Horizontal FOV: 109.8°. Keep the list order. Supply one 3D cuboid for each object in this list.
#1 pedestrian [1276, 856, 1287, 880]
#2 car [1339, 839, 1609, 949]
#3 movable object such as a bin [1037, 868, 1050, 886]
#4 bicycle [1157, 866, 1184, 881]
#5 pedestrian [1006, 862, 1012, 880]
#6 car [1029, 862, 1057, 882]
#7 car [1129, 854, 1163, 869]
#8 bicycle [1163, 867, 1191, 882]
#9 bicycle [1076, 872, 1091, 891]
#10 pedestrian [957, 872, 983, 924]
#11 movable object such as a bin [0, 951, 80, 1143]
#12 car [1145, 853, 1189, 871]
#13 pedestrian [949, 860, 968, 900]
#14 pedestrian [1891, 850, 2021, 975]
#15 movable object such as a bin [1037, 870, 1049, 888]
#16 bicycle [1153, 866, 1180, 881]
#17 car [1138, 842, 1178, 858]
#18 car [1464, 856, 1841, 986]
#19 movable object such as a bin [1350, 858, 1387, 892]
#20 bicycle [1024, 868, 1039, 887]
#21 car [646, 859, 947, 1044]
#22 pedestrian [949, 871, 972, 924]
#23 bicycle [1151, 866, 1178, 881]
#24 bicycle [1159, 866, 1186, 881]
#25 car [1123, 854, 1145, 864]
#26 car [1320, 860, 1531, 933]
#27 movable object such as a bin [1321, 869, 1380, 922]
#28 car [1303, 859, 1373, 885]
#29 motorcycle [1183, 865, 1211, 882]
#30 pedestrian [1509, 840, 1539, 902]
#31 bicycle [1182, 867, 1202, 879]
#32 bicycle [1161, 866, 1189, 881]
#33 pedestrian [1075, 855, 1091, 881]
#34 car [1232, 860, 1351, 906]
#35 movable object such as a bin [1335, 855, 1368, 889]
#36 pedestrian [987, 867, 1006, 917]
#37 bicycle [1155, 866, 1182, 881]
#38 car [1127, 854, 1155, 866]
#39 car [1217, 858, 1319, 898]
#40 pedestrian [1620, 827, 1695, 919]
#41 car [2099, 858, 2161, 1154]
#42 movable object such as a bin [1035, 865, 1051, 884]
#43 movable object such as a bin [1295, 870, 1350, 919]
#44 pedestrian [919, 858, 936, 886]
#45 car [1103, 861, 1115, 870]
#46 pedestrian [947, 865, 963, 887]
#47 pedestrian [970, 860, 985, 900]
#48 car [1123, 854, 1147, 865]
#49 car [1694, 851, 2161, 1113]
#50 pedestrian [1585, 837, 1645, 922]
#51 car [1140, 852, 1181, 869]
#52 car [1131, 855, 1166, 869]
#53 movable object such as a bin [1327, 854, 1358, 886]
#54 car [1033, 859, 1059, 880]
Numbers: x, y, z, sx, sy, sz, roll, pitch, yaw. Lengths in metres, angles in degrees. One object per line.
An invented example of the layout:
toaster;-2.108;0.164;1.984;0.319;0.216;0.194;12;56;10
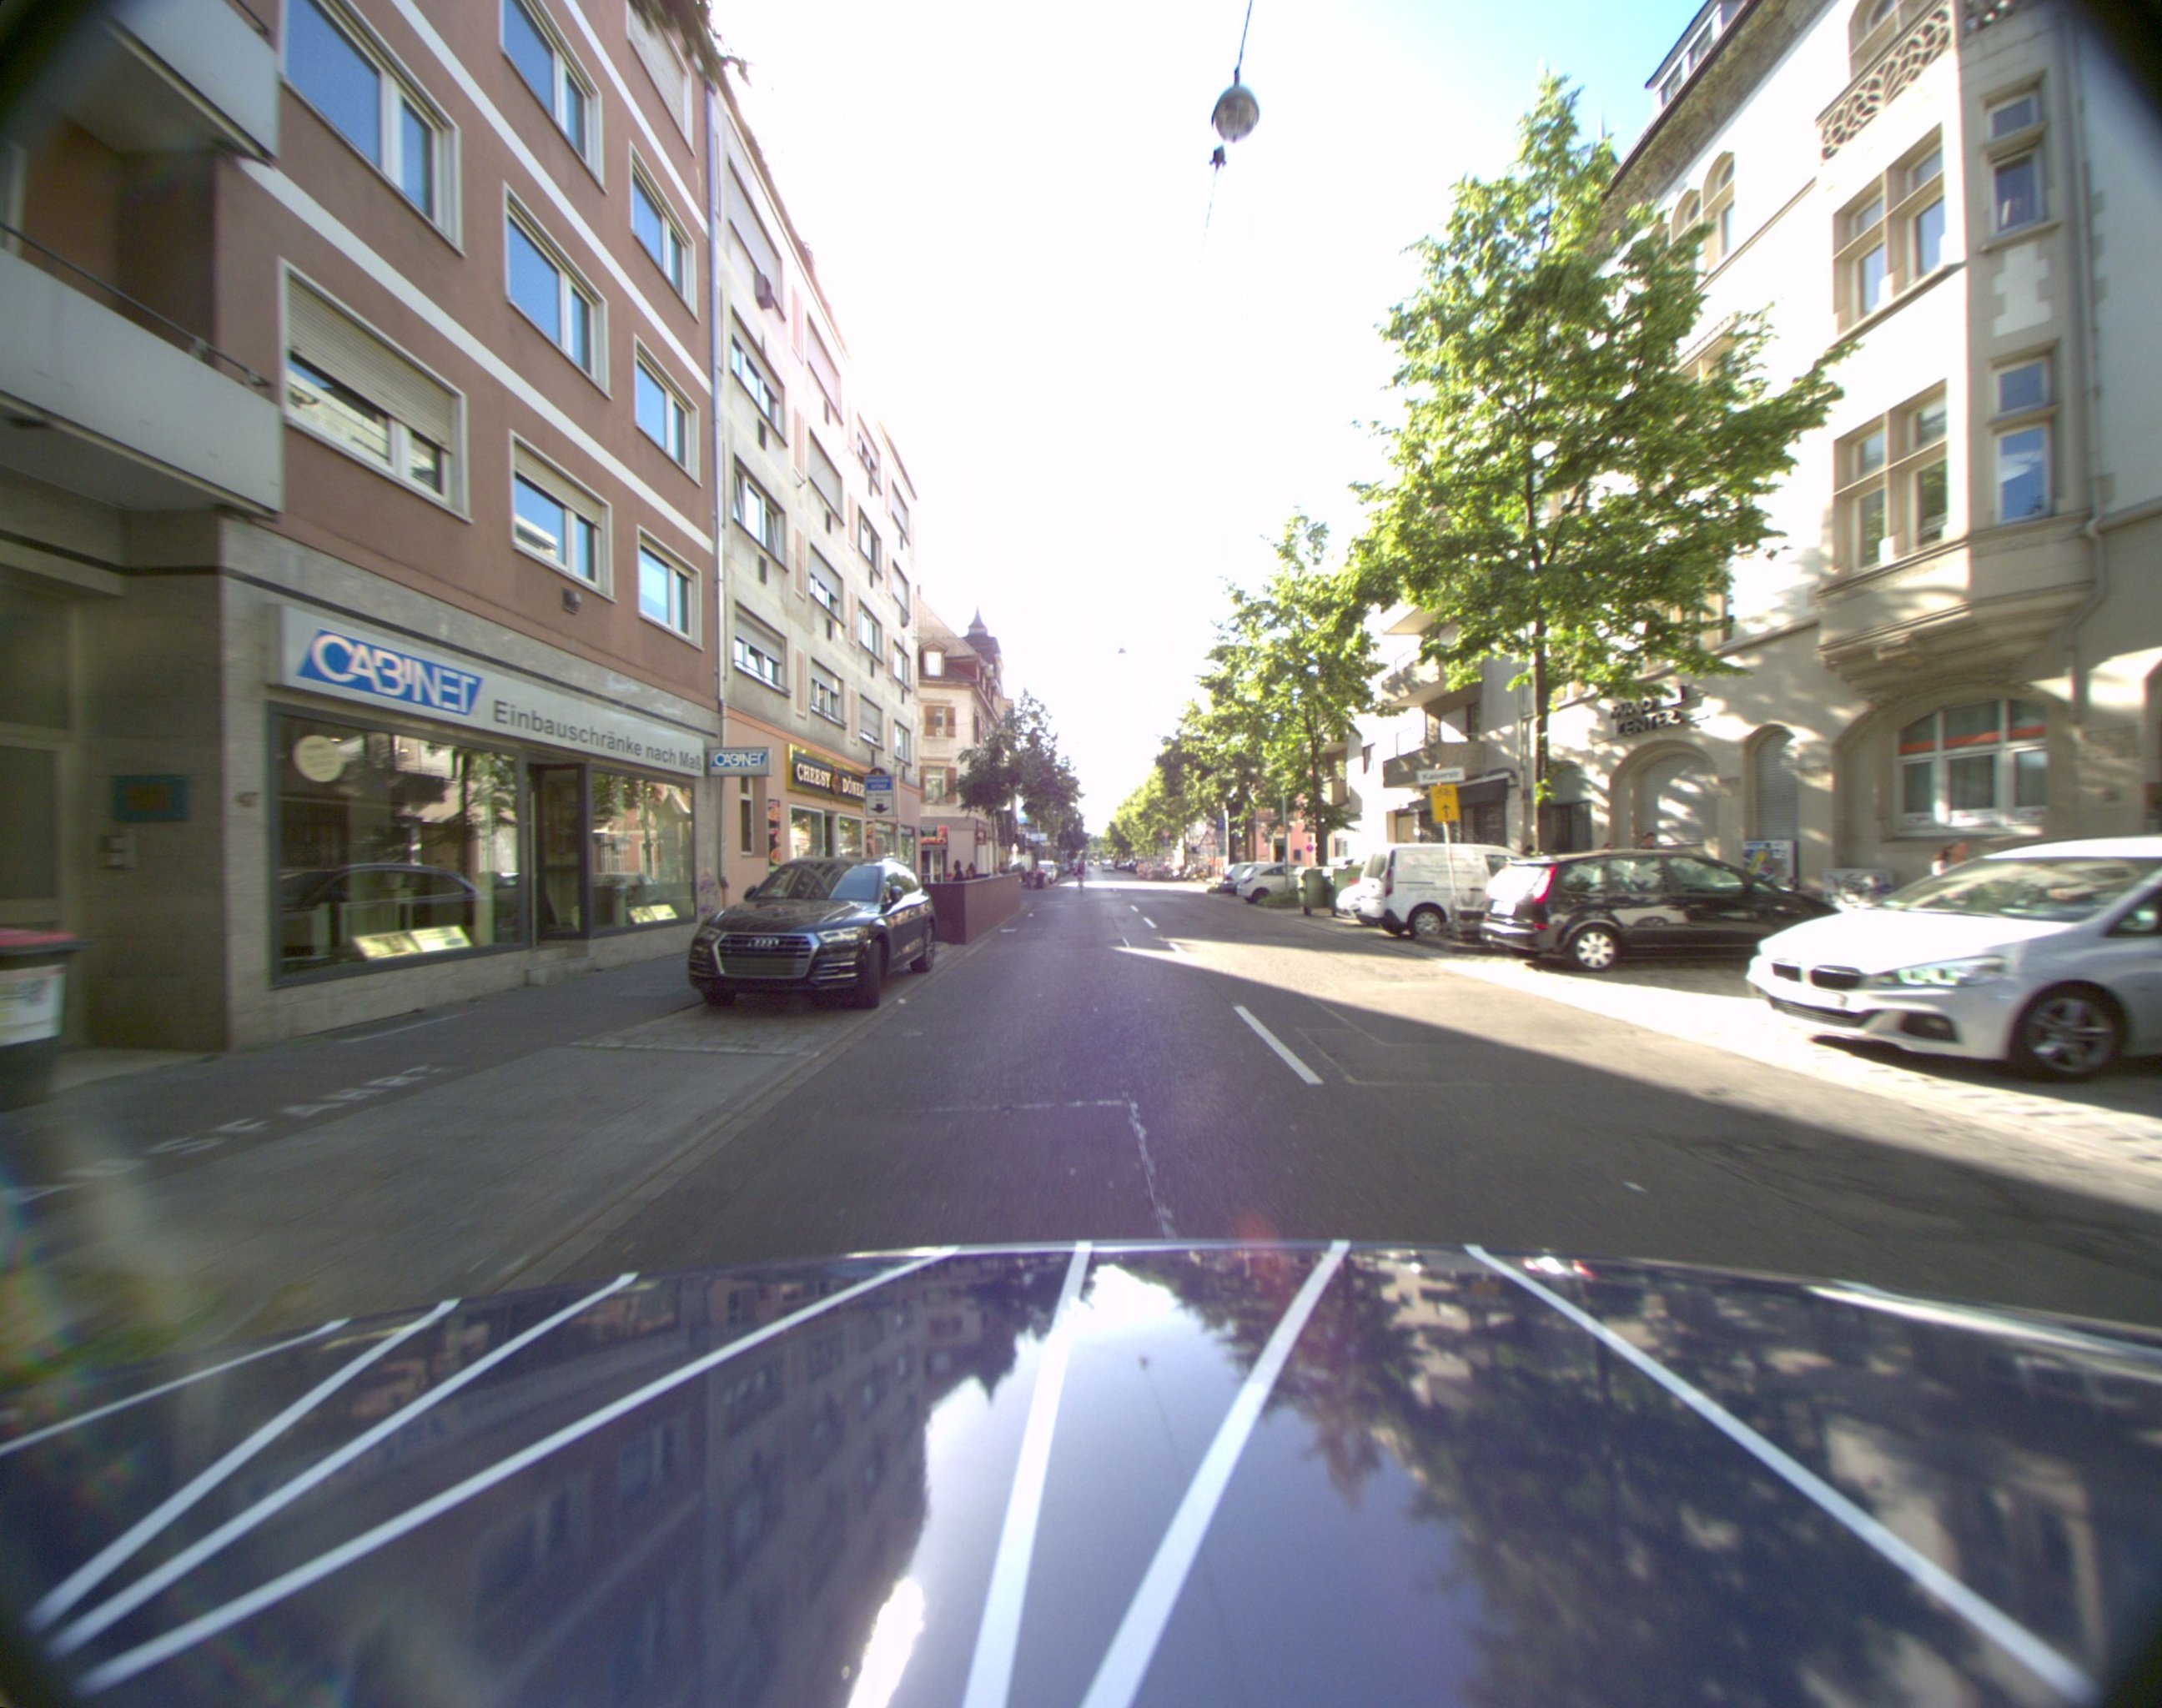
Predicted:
pedestrian;14.486;1.008;54.947;0.630;1.716;0.580;-1;0;-2
car;7.408;0.729;14.675;4.115;1.825;2.039;-2;0;1
movable object such as a bin;-2.390;1.452;48.105;0.721;1.149;0.602;-1;0;3
bicycle;6.914;1.526;58.677;2.006;1.023;0.473;-3;0;-12
pedestrian;-5.907;1.393;62.283;0.460;1.434;0.521;-2;1;-1
car;-2.766;1.323;56.198;1.835;1.410;4.159;1;0;0
car;8.405;0.941;98.088;4.134;1.792;1.911;-2;0;0
bicycle;7.224;1.507;57.167;2.006;1.023;0.473;-3;0;-12
bicycle;0.124;1.482;41.331;0.805;0.958;1.996;-2;-1;0
pedestrian;-3.018;1.192;20.707;0.553;1.371;0.594;-2;0;1
movable object such as a bin;-6.433;1.128;4.401;0.500;1.058;0.574;-1;0;2
car;8.673;0.778;76.978;4.134;1.670;2.000;-2;0;0
pedestrian;-5.009;1.063;31.181;0.643;1.635;0.748;1;0;0
pedestrian;11.083;0.719;9.657;0.594;1.485;0.842;-4;0;2
movable object such as a bin;-2.359;1.555;47.146;0.634;1.062;0.602;0;2;2
bicycle;6.720;1.513;59.562;2.006;1.023;0.473;-3;0;-12
car;8.578;-0.458;84.906;4.134;1.670;2.000;-2;0;0
car;7.651;0.853;10.472;3.809;1.549;1.792;-2;0;1
movable object such as a bin;12.172;0.879;32.196;1.080;1.406;1.352;-1;0;2
bicycle;-3.042;1.446;46.917;0.378;1.139;1.670;0;1;-24
car;-3.095;0.940;9.472;1.998;1.680;4.516;2;0;0
pedestrian;-3.160;1.130;19.958;0.474;1.354;0.594;-2;0;2
bicycle;6.600;1.527;60.072;2.006;1.023;0.473;-3;0;-12
bicycle;7.024;1.515;58.195;2.006;1.023;0.473;-3;0;-12
car;10.249;1.019;147.672;4.134;1.792;1.911;-2;0;0
car;7.810;0.940;17.522;3.989;1.455;1.887;-2;0;1
movable object such as a bin;7.150;1.093;20.189;1.195;1.337;0.932;-2;0;0
car;15.629;1.063;46.225;3.606;1.468;1.901;-1;0;-22
motorcycle;8.602;1.411;56.366;2.003;1.178;0.740;-2;0;3
pedestrian;12.205;0.463;20.936;0.434;1.662;0.639;-2;1;3
bicycle;8.530;1.466;58.397;1.513;0.945;0.360;-3;0;41
bicycle;7.120;1.502;57.695;2.006;1.023;0.473;-3;0;-12
pedestrian;0.104;0.778;41.303;0.804;1.381;0.931;-2;0;-1
car;7.573;1.018;27.525;3.788;1.455;1.710;-2;0;-2
movable object such as a bin;12.138;0.796;34.098;1.035;1.451;1.258;-1;0;2
pedestrian;-2.621;1.190;23.664;0.474;1.520;0.462;-2;1;1
bicycle;6.819;1.529;59.101;2.006;1.023;0.473;-3;0;-12
car;9.108;0.923;115.698;4.134;1.792;1.911;-2;0;0
car;8.136;1.027;33.315;4.008;1.456;1.748;-3;2;1
pedestrian;11.607;0.378;15.324;0.776;1.756;0.763;-5;1;-1
car;7.891;0.749;3.232;4.377;1.561;1.980;-2;0;1
movable object such as a bin;-2.438;1.313;48.611;0.944;1.207;0.699;0;1;1
movable object such as a bin;6.710;1.117;21.157;1.240;1.295;0.870;-1;0;0
pedestrian;-9.389;1.081;46.448;0.801;1.687;0.705;-2;3;-38
car;4.328;1.734;117.422;1.835;1.410;3.833;-1;0;1
pedestrian;-7.316;1.263;44.108;0.714;1.252;0.589;-2;3;-39
pedestrian;-4.234;1.057;31.197;0.515;1.635;0.748;1;0;0
car;9.599;0.990;136.434;4.134;1.792;1.911;-2;0;0
car;7.599;0.797;5.706;4.377;1.561;1.946;-2;0;1
pedestrian;10.770;0.507;15.340;0.566;1.617;0.727;-5;1;-1
car;8.576;0.703;82.426;4.134;1.670;2.000;-2;0;0
car;8.264;1.022;92.989;4.134;1.584;1.911;-2;0;0
movable object such as a bin;12.196;0.722;35.522;1.035;1.451;1.258;-1;0;2
car;-2.750;1.237;61.263;1.835;1.641;4.159;1;0;1
